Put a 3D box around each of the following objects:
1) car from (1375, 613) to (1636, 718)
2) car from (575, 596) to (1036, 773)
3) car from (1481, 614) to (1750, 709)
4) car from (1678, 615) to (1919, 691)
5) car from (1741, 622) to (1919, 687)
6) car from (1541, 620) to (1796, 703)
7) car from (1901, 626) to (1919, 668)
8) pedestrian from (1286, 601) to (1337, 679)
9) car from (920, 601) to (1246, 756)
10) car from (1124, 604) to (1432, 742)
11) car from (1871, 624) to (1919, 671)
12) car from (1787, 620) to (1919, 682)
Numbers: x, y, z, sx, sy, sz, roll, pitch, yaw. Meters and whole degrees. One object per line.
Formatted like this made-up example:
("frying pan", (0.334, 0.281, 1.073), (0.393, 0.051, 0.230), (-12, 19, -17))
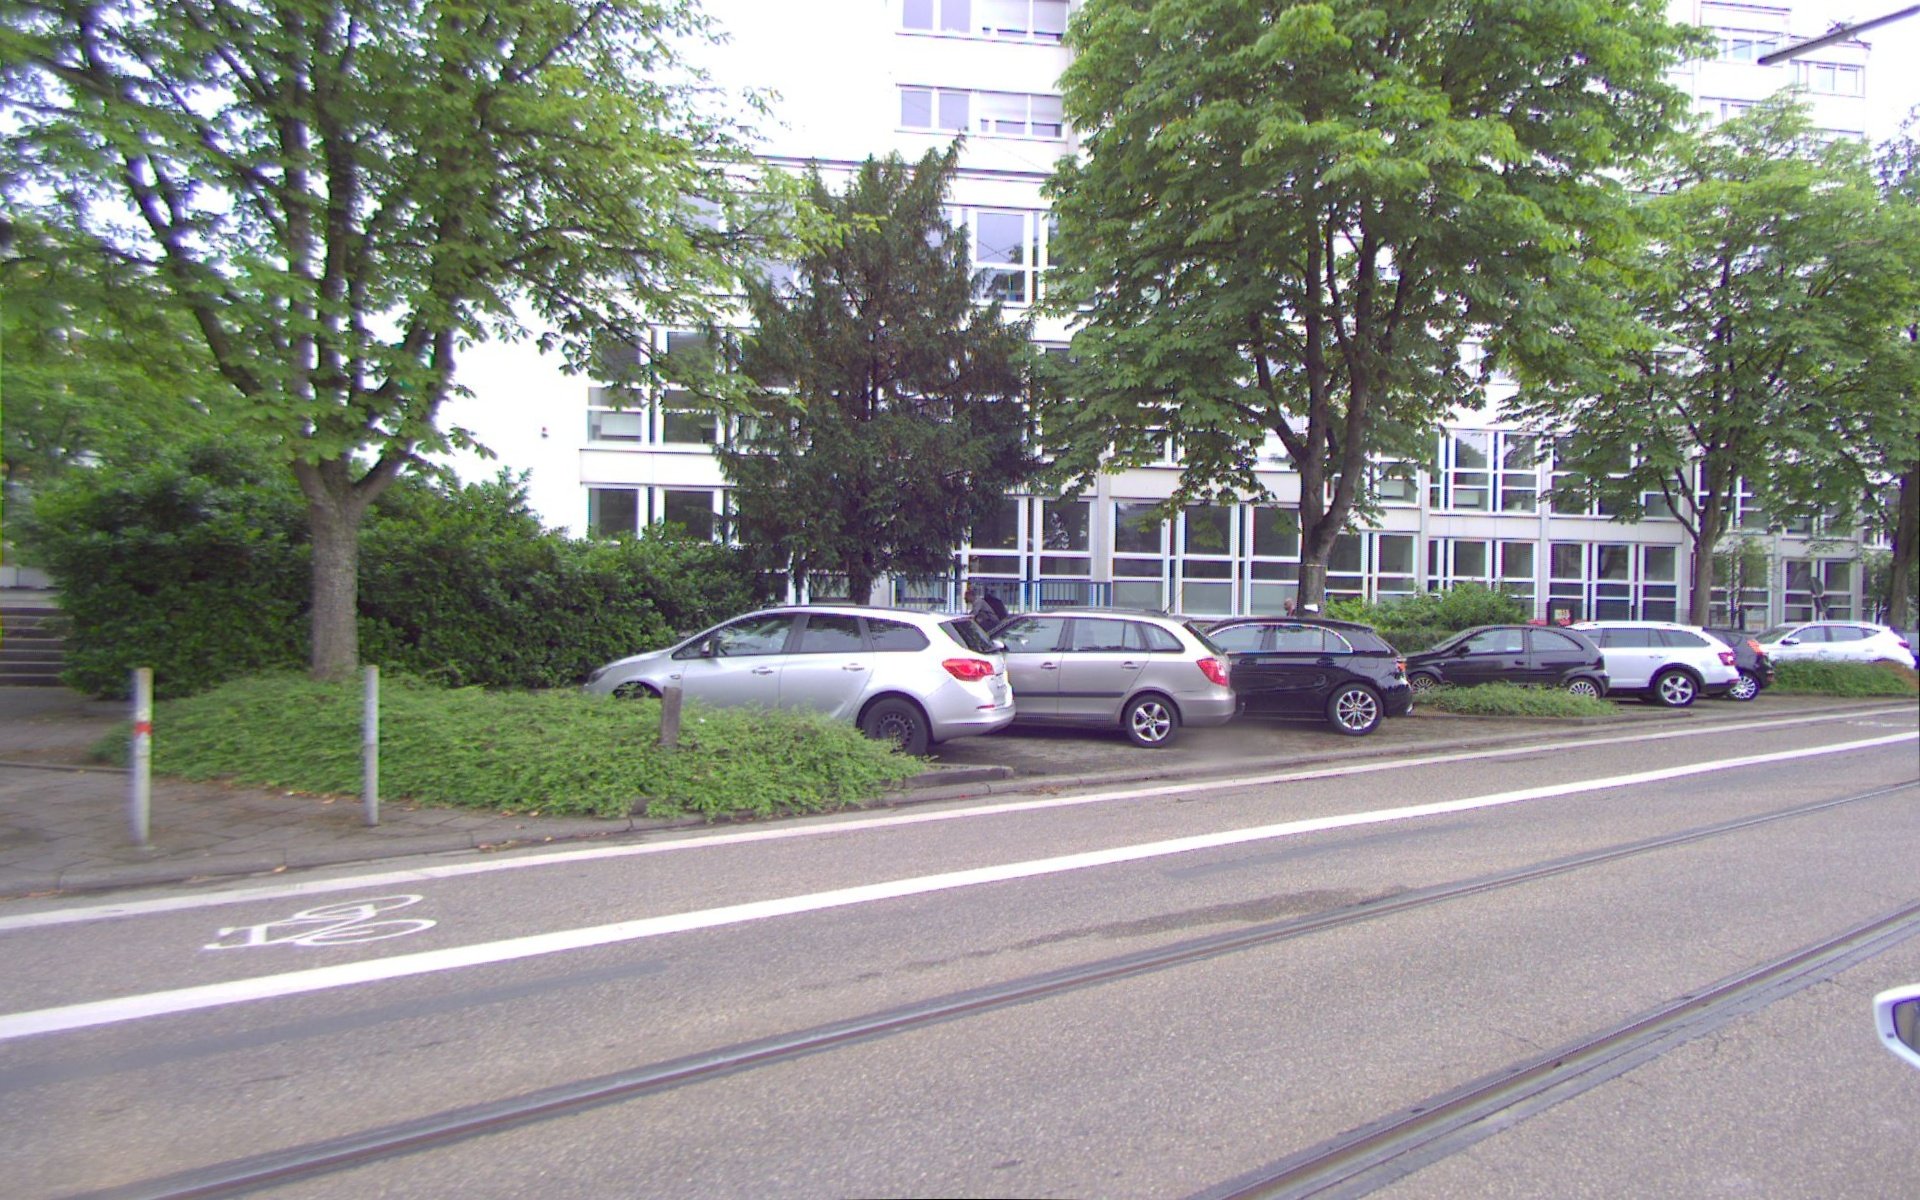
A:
("car", (9.300, 1.068, 17.431), (3.631, 1.544, 1.701), (2, 1, 14))
("car", (-1.498, 0.774, 10.444), (4.342, 1.484, 1.805), (2, 0, 11))
("car", (12.226, 1.093, 19.044), (3.950, 1.504, 1.699), (2, 1, 21))
("car", (20.213, 1.242, 24.321), (4.258, 1.577, 1.701), (2, 1, 10))
("car", (23.029, 1.391, 25.861), (4.258, 1.473, 1.701), (2, 1, 13))
("car", (14.446, 1.208, 20.756), (3.950, 1.424, 1.699), (2, 1, 21))
("car", (33.808, 1.615, 32.984), (3.888, 1.370, 1.701), (2, 1, 13))
("pedestrian", (7.646, 0.853, 21.882), (0.721, 1.633, 0.754), (3, 1, -7))
("car", (1.488, 0.837, 11.912), (3.577, 1.544, 1.573), (2, 1, 14))
("car", (4.120, 0.885, 13.395), (3.631, 1.544, 1.701), (2, 1, 14))
("car", (31.185, 1.524, 31.205), (3.888, 1.370, 1.701), (2, 1, 13))
("car", (25.808, 1.425, 27.728), (4.258, 1.556, 1.701), (2, 1, 13))
